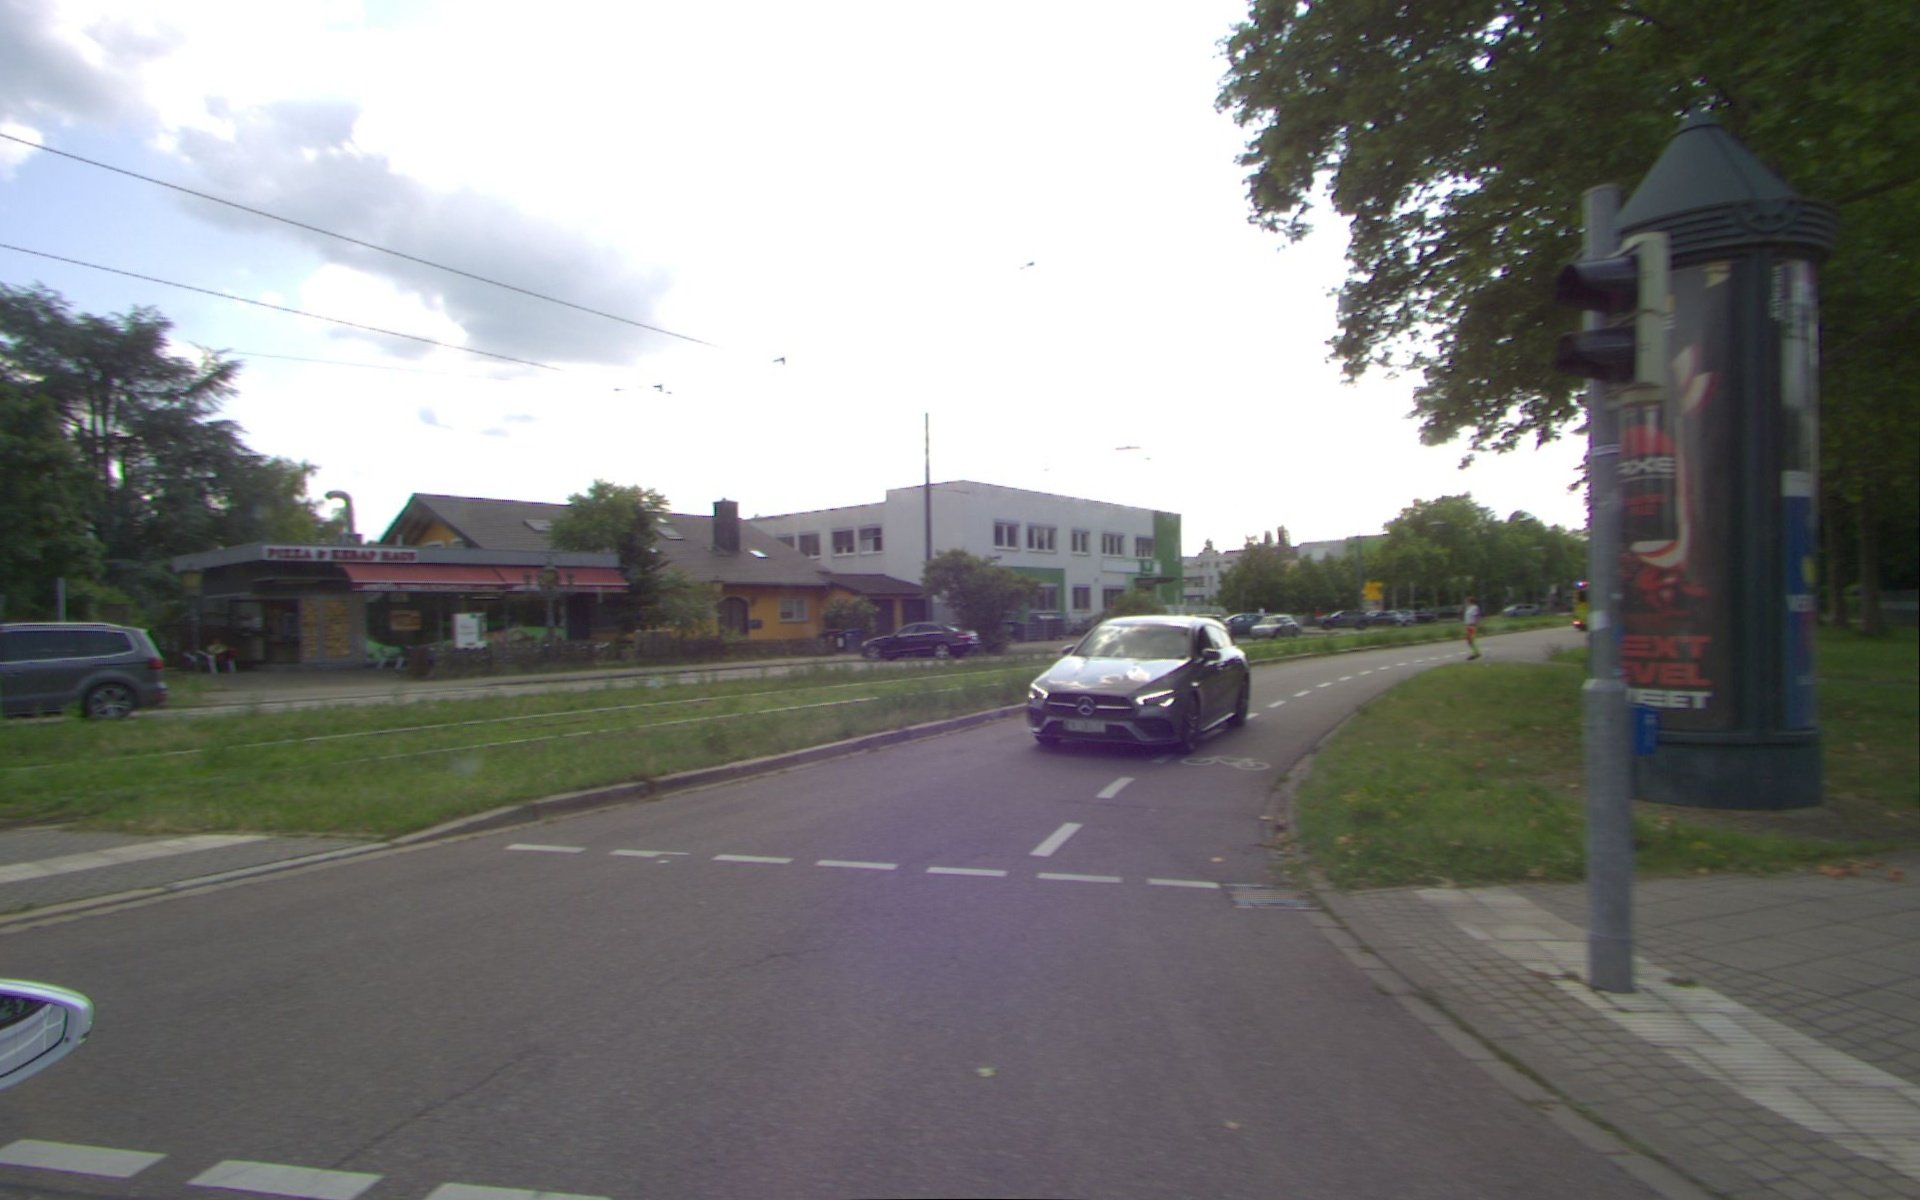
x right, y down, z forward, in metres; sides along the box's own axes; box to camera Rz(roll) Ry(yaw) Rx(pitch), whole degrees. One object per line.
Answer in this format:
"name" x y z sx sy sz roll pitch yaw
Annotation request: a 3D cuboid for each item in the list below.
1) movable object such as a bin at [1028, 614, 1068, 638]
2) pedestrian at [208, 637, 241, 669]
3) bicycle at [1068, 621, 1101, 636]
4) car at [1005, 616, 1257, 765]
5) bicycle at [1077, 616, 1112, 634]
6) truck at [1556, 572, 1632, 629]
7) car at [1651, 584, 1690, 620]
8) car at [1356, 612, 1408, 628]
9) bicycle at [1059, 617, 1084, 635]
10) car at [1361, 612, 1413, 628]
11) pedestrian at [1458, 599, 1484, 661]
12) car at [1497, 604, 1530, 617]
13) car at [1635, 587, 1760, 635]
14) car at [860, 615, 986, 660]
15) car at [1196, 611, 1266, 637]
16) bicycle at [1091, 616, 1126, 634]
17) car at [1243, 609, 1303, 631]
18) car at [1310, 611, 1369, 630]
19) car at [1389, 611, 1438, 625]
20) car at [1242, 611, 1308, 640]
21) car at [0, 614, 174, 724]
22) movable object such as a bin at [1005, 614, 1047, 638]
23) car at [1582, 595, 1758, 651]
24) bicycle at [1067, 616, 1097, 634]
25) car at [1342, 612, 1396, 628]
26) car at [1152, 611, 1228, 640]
"movable object such as a bin" 5.161 1.504 58.547 1.361 1.344 2.113 -2 -1 42
"pedestrian" -23.072 1.664 31.407 0.768 0.941 0.721 1 0 44
"bicycle" 8.282 1.885 66.733 2.136 0.983 0.724 -2 -1 43
"car" 2.311 0.927 12.292 1.812 1.412 4.589 0 0 27
"bicycle" 9.016 1.698 67.298 2.328 1.181 0.753 -2 -1 45
"truck" 40.051 0.050 63.117 3.156 3.360 7.466 -1 -1 39
"car" 69.399 0.248 97.757 2.936 3.374 7.410 1 0 37
"car" 38.598 1.823 91.693 4.237 1.381 1.899 -1 -1 17
"bicycle" 7.283 1.694 65.580 0.696 1.181 1.610 -1 -1 -34
"car" 40.011 1.855 93.857 4.237 1.381 1.899 -1 -1 17
"pedestrian" 14.276 0.828 27.965 0.580 1.706 0.491 0 0 37
"car" 83.309 1.628 150.650 3.923 1.862 1.821 1 0 7
"car" 33.671 0.547 45.773 4.503 2.039 1.985 -2 -2 40
"car" -1.426 1.463 39.209 4.500 1.600 1.996 -2 -1 19
"car" 17.558 1.527 65.017 4.233 1.650 1.901 -1 0 11
"bicycle" 10.053 1.722 67.914 0.741 1.181 2.395 -1 -1 -44
"car" 22.638 1.465 72.628 4.095 1.523 1.858 -1 0 17
"car" 30.591 1.647 80.794 4.236 1.381 1.900 -1 -1 15
"car" 45.403 1.818 100.403 4.237 1.381 1.899 -1 -1 17
"car" 18.751 1.501 59.484 4.271 1.650 1.884 0 -1 -43
"car" -16.227 1.140 16.607 1.976 1.744 4.705 -1 -1 39
"movable object such as a bin" 3.766 1.475 56.881 1.361 1.344 2.099 -2 -1 42
"car" 22.741 0.773 32.227 4.485 1.665 1.987 -2 -2 37
"bicycle" 7.809 1.598 63.905 1.774 1.096 0.731 -2 0 37
"car" 36.382 1.780 89.246 4.237 1.381 1.899 -1 -1 17
"car" 13.787 1.548 60.317 4.232 1.650 1.902 -1 -1 6
